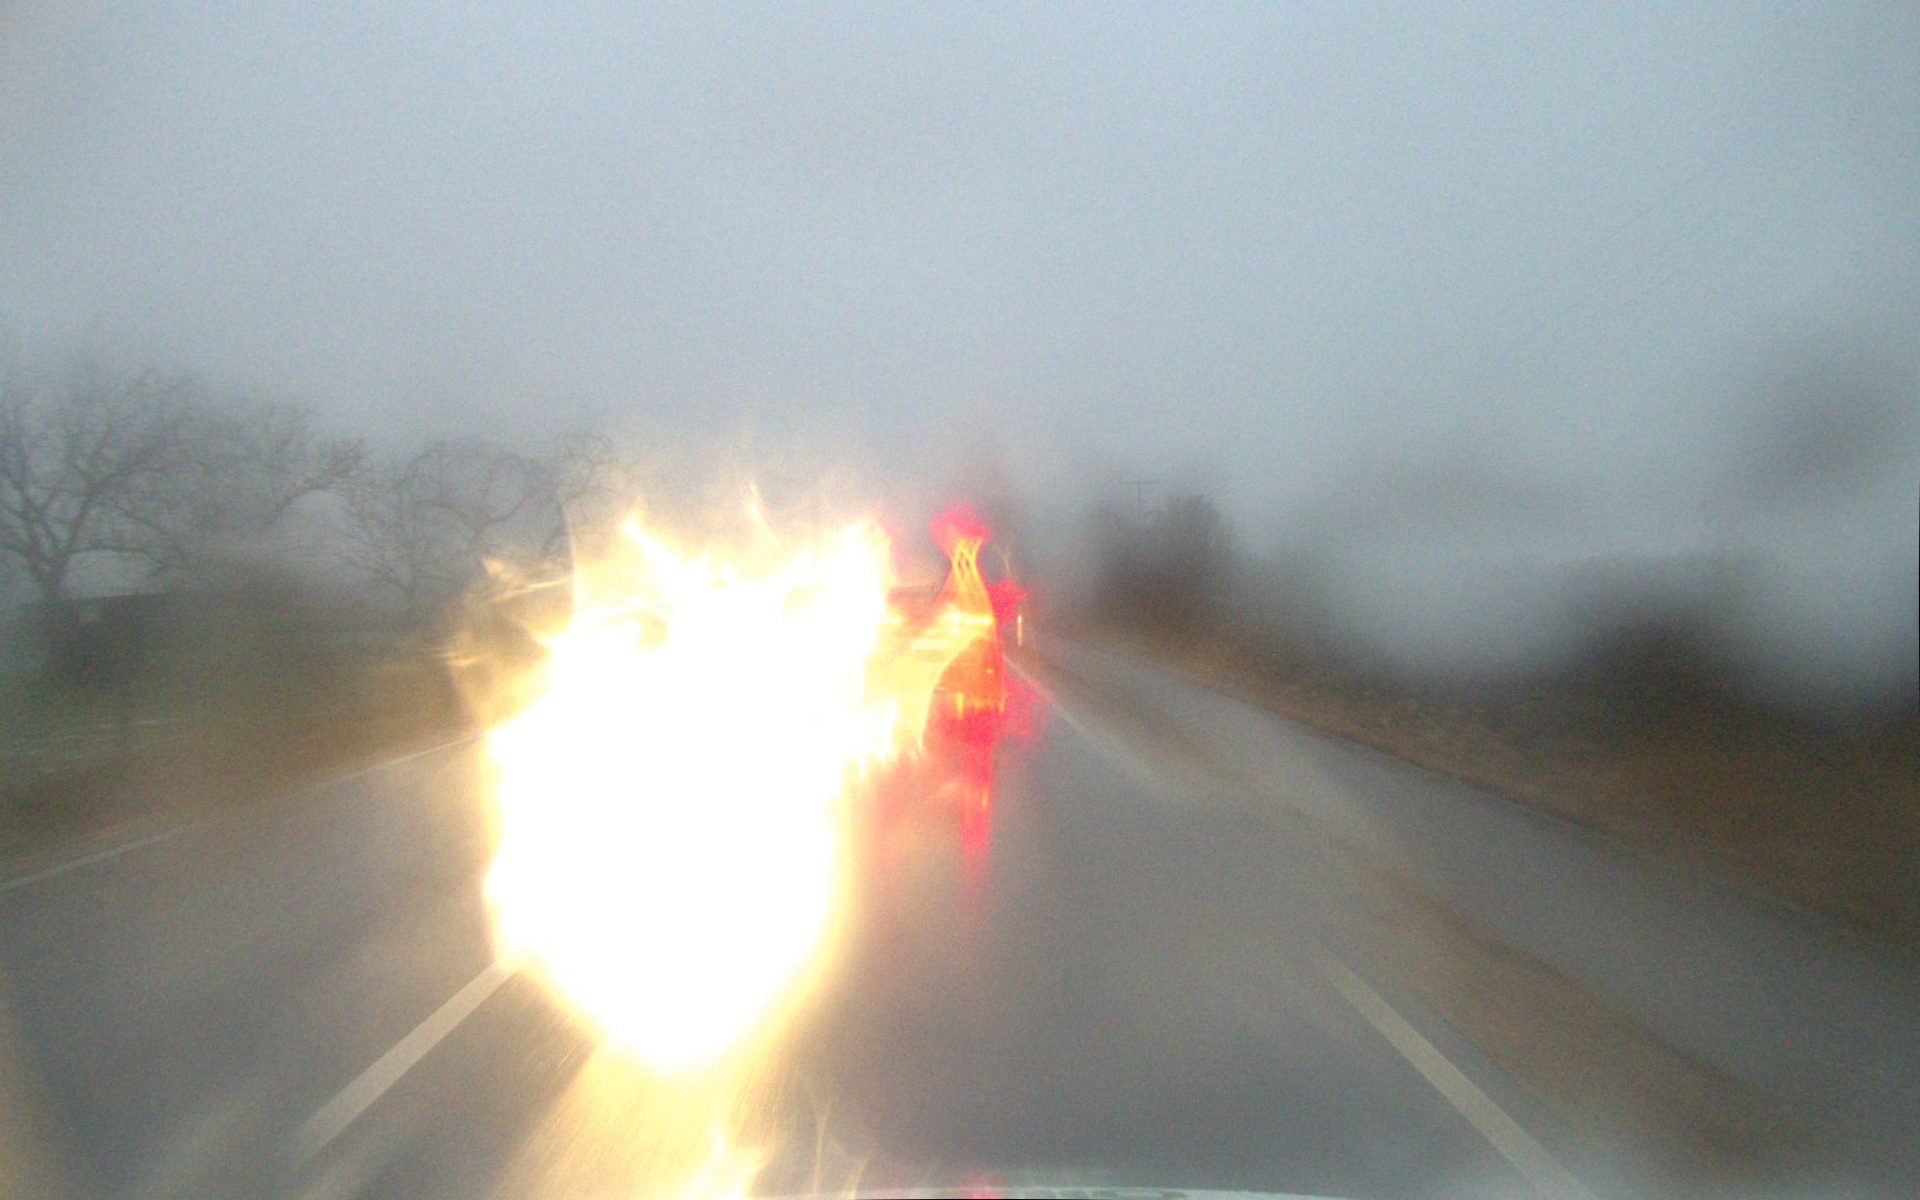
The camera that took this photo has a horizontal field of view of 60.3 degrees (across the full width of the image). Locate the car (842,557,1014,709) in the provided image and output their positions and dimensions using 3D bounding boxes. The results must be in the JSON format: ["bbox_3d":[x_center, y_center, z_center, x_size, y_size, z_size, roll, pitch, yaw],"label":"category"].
[{"bbox_3d":[-0.419,0.386,22.589,2.077,1.851,4.979,0,0,-1],"label":"car"}]

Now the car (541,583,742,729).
[{"bbox_3d":[-3.832,0.604,20.622,1.818,1.543,4.513,-2,1,-3],"label":"car"}]

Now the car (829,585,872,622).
[{"bbox_3d":[-4.964,0.144,75.331,1.726,1.582,3.999,-2,1,-1],"label":"car"}]
